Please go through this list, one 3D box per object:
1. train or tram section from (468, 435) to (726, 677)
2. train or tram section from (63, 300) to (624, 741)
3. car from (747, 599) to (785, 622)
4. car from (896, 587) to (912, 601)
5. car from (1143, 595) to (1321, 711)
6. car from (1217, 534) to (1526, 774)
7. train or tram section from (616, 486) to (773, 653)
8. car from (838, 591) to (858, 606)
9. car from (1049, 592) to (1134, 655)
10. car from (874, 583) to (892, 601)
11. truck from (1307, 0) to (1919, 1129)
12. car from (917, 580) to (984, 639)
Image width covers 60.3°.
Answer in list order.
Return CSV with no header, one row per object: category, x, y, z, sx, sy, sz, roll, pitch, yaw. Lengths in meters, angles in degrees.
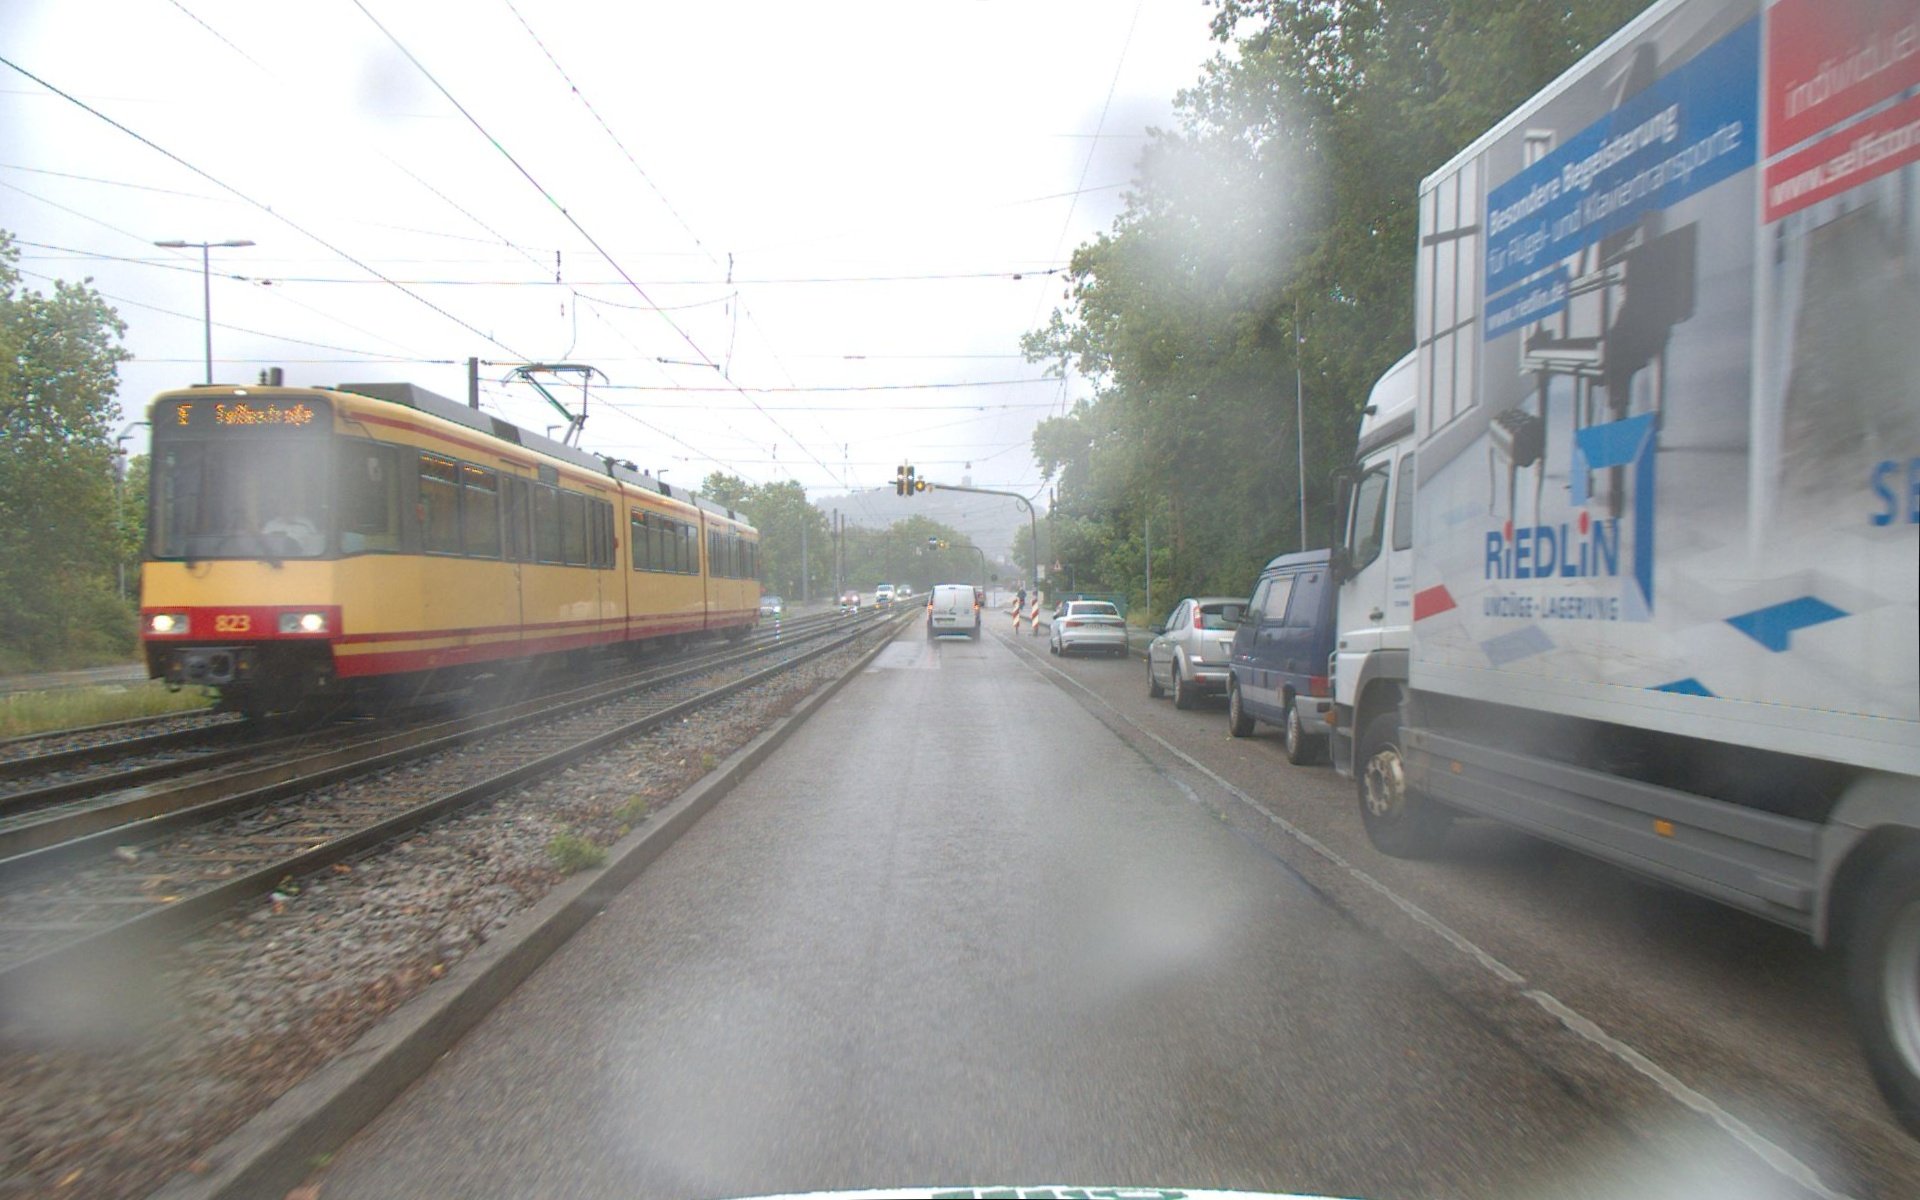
train or tram section,-7.266,-0.742,35.425,2.749,4.222,13.017,0,0,0
train or tram section,-7.229,-0.770,22.364,2.749,4.222,13.018,0,0,0
car,-12.716,0.654,108.774,1.953,1.429,5.385,-1,0,-1
car,-7.804,-0.834,230.234,1.952,1.982,4.000,0,-1,0
car,3.795,0.701,23.773,1.776,1.485,4.345,1,0,-1
car,3.971,0.462,16.878,1.838,2.049,4.979,1,0,-1
train or tram section,-7.311,-0.717,47.058,2.753,4.222,10.268,0,-1,0
car,-11.407,-0.171,168.742,1.782,1.422,3.999,-1,0,-1
car,3.360,0.572,42.993,1.782,1.512,4.480,1,0,-1
car,-9.455,-0.978,203.850,1.952,2.049,4.000,0,-1,0
truck,3.963,-0.389,6.652,2.720,3.769,9.847,0,-1,-2
car,-0.345,0.294,54.431,1.954,1.881,3.997,0,0,-4
